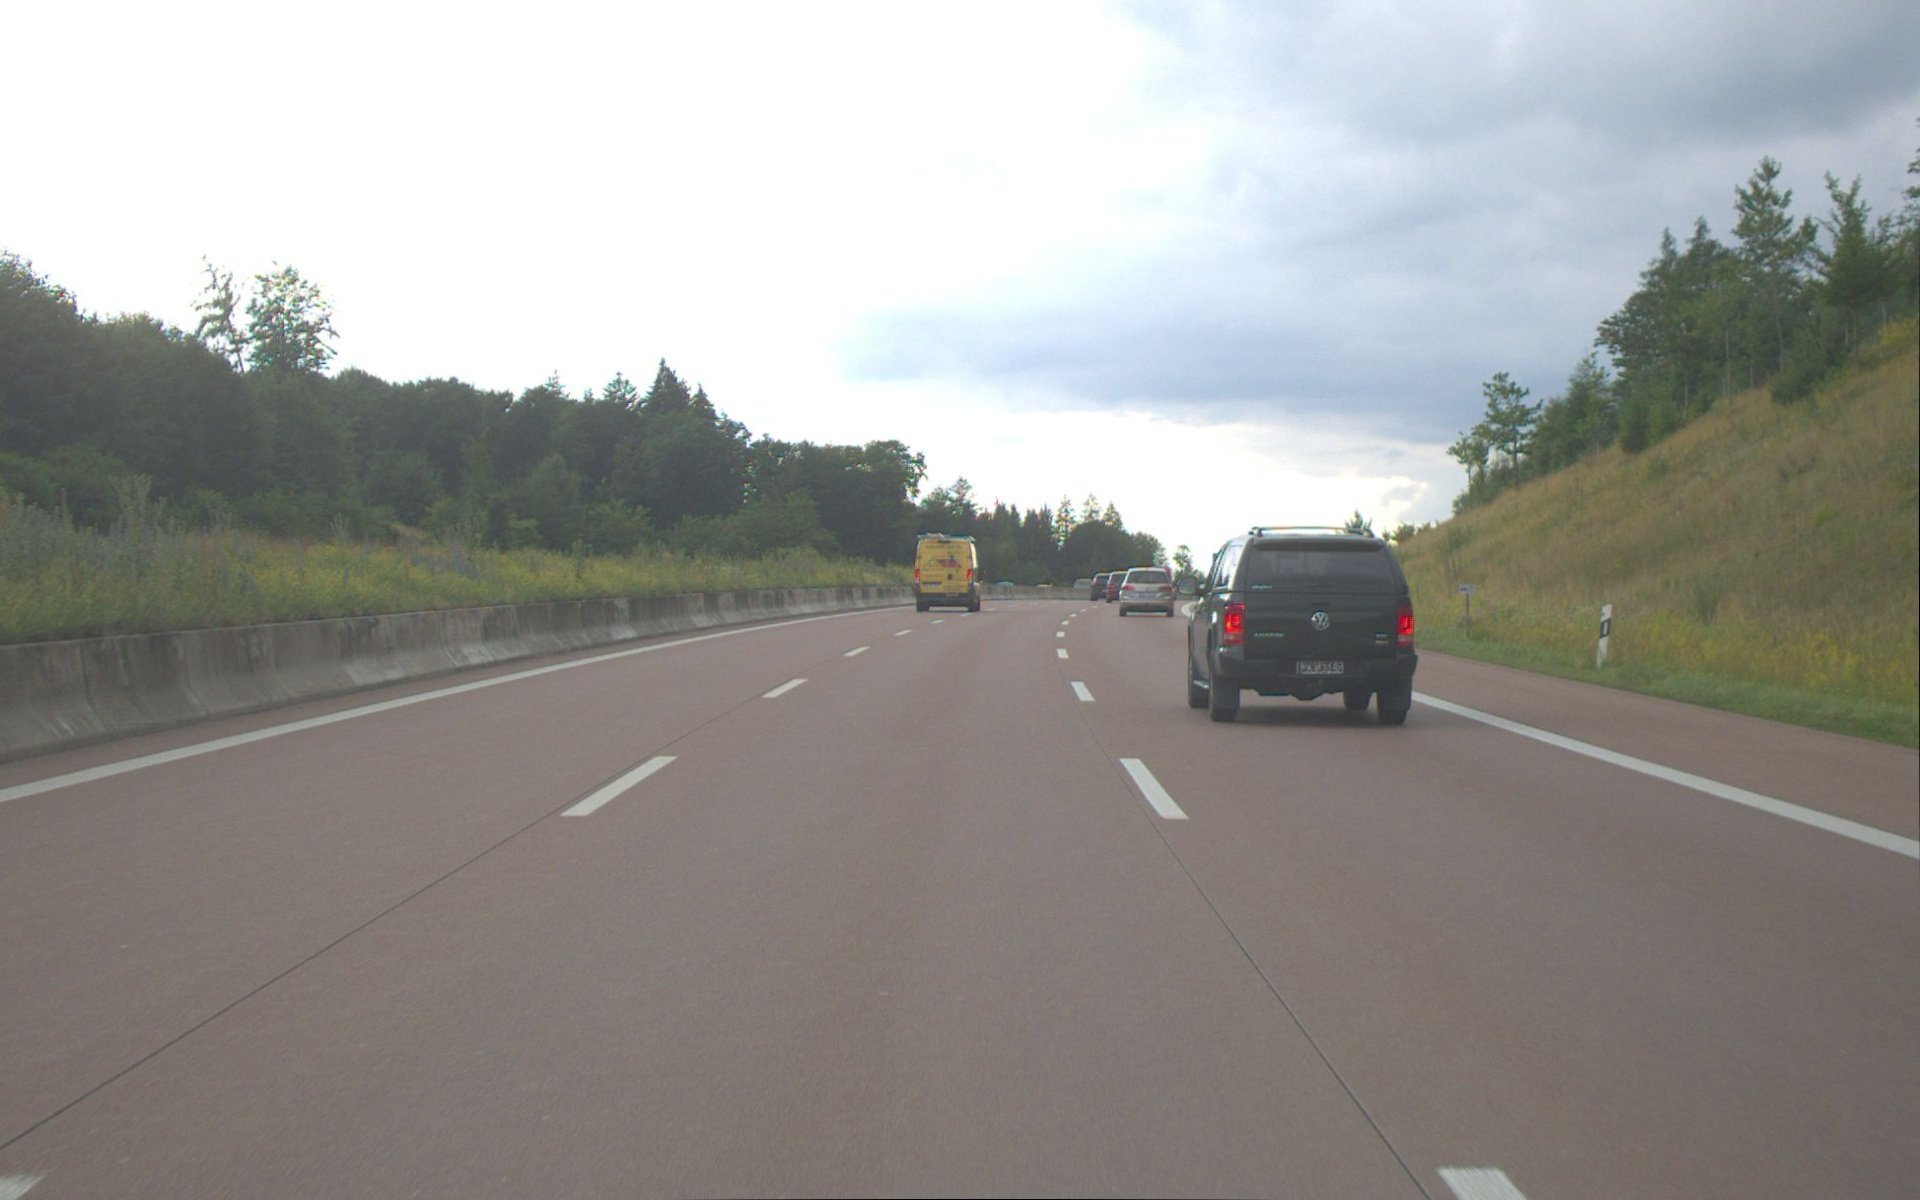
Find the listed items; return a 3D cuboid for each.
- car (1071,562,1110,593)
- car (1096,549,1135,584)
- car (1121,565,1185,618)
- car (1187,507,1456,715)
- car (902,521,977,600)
[{"bbox_3d":[7.766,-1.327,204.609,1.888,1.758,4.996,0,0,8],"label":"car"},{"bbox_3d":[8.164,-1.761,179.929,1.888,1.758,4.781,0,0,5],"label":"car"},{"bbox_3d":[6.265,-0.269,111.348,1.978,1.642,4.618,1,0,4],"label":"car"},{"bbox_3d":[3.476,0.111,34.100,2.044,1.890,5.577,0,0,0],"label":"car"},{"bbox_3d":[-0.690,-1.352,121.087,2.458,2.697,5.613,0,0,2],"label":"car"}]
